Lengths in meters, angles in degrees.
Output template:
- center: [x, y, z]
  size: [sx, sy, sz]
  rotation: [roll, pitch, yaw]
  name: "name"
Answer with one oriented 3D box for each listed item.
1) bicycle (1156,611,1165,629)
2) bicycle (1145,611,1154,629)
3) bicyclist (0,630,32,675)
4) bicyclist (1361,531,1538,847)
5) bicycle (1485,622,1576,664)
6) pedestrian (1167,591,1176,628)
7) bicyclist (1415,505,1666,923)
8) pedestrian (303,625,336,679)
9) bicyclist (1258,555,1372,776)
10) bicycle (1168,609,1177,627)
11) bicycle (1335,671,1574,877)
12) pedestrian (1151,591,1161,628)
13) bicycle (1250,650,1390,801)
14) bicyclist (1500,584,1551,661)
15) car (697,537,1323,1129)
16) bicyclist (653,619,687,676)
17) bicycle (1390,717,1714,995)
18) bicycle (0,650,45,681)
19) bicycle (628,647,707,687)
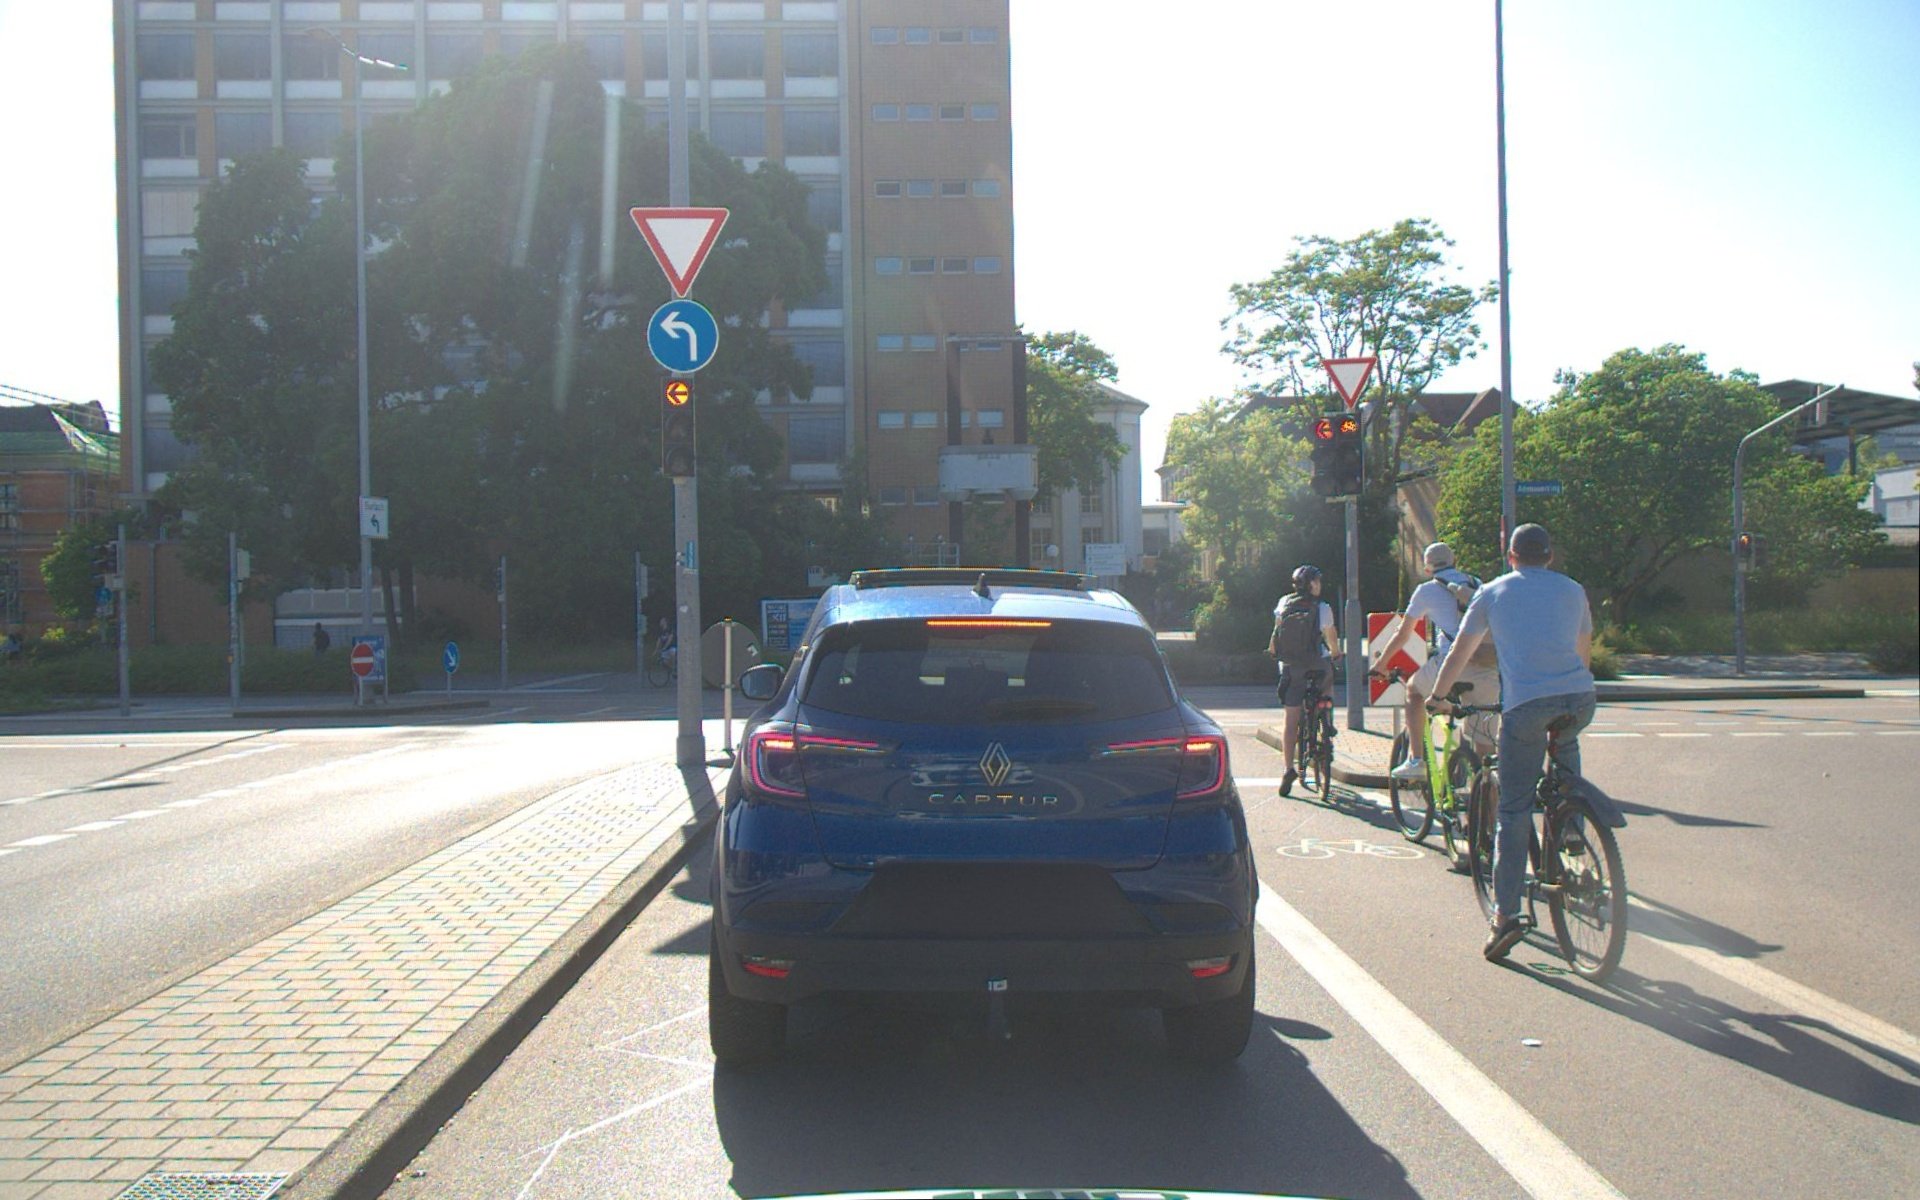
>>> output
- center: [11.413, 1.150, 94.192]
  size: [0.397, 0.990, 1.684]
  rotation: [1, 0, 3]
  name: "bicycle"
- center: [10.804, 1.140, 94.226]
  size: [0.397, 0.990, 1.684]
  rotation: [1, 0, 3]
  name: "bicycle"
- center: [-31.221, 1.722, 54.539]
  size: [0.917, 1.454, 0.599]
  rotation: [-1, 0, 18]
  name: "bicyclist"
- center: [2.889, 0.506, 9.845]
  size: [0.633, 1.769, 1.065]
  rotation: [1, 0, -6]
  name: "bicyclist"
- center: [14.309, 1.077, 41.507]
  size: [2.037, 0.946, 0.696]
  rotation: [-2, 1, 5]
  name: "bicycle"
- center: [11.836, 0.534, 92.566]
  size: [0.465, 2.049, 0.468]
  rotation: [-1, 0, 5]
  name: "pedestrian"
- center: [2.515, 0.469, 7.275]
  size: [0.736, 1.698, 1.016]
  rotation: [1, 0, 0]
  name: "bicyclist"
- center: [-19.903, 1.615, 51.436]
  size: [0.722, 1.631, 0.599]
  rotation: [-1, 0, 18]
  name: "pedestrian"
- center: [2.766, 0.498, 12.979]
  size: [0.711, 1.657, 0.969]
  rotation: [1, 0, 3]
  name: "bicyclist"
- center: [12.165, 1.018, 94.571]
  size: [0.397, 0.990, 1.684]
  rotation: [1, 0, 3]
  name: "bicycle"
- center: [2.877, 0.975, 9.848]
  size: [0.646, 1.020, 1.967]
  rotation: [1, 0, -6]
  name: "bicycle"
- center: [10.806, 0.511, 91.199]
  size: [0.465, 2.049, 0.523]
  rotation: [-1, 0, 5]
  name: "pedestrian"
- center: [2.768, 0.933, 12.927]
  size: [0.723, 1.012, 2.174]
  rotation: [1, 0, 3]
  name: "bicycle"
- center: [14.184, 0.557, 41.486]
  size: [1.078, 1.900, 0.653]
  rotation: [-1, 0, 10]
  name: "bicyclist"
- center: [0.067, 0.665, 6.686]
  size: [1.767, 1.660, 3.998]
  rotation: [1, 0, -3]
  name: "car"
- center: [-7.664, 1.236, 43.649]
  size: [0.728, 1.466, 0.593]
  rotation: [-1, 0, -27]
  name: "bicyclist"
- center: [2.509, 1.042, 7.277]
  size: [0.725, 0.911, 1.978]
  rotation: [1, 0, 0]
  name: "bicycle"
- center: [-31.217, 2.155, 54.538]
  size: [2.032, 0.981, 0.599]
  rotation: [-1, 0, 18]
  name: "bicycle"
- center: [-7.712, 1.760, 43.623]
  size: [1.982, 0.981, 0.593]
  rotation: [-1, 0, -28]
  name: "bicycle"
